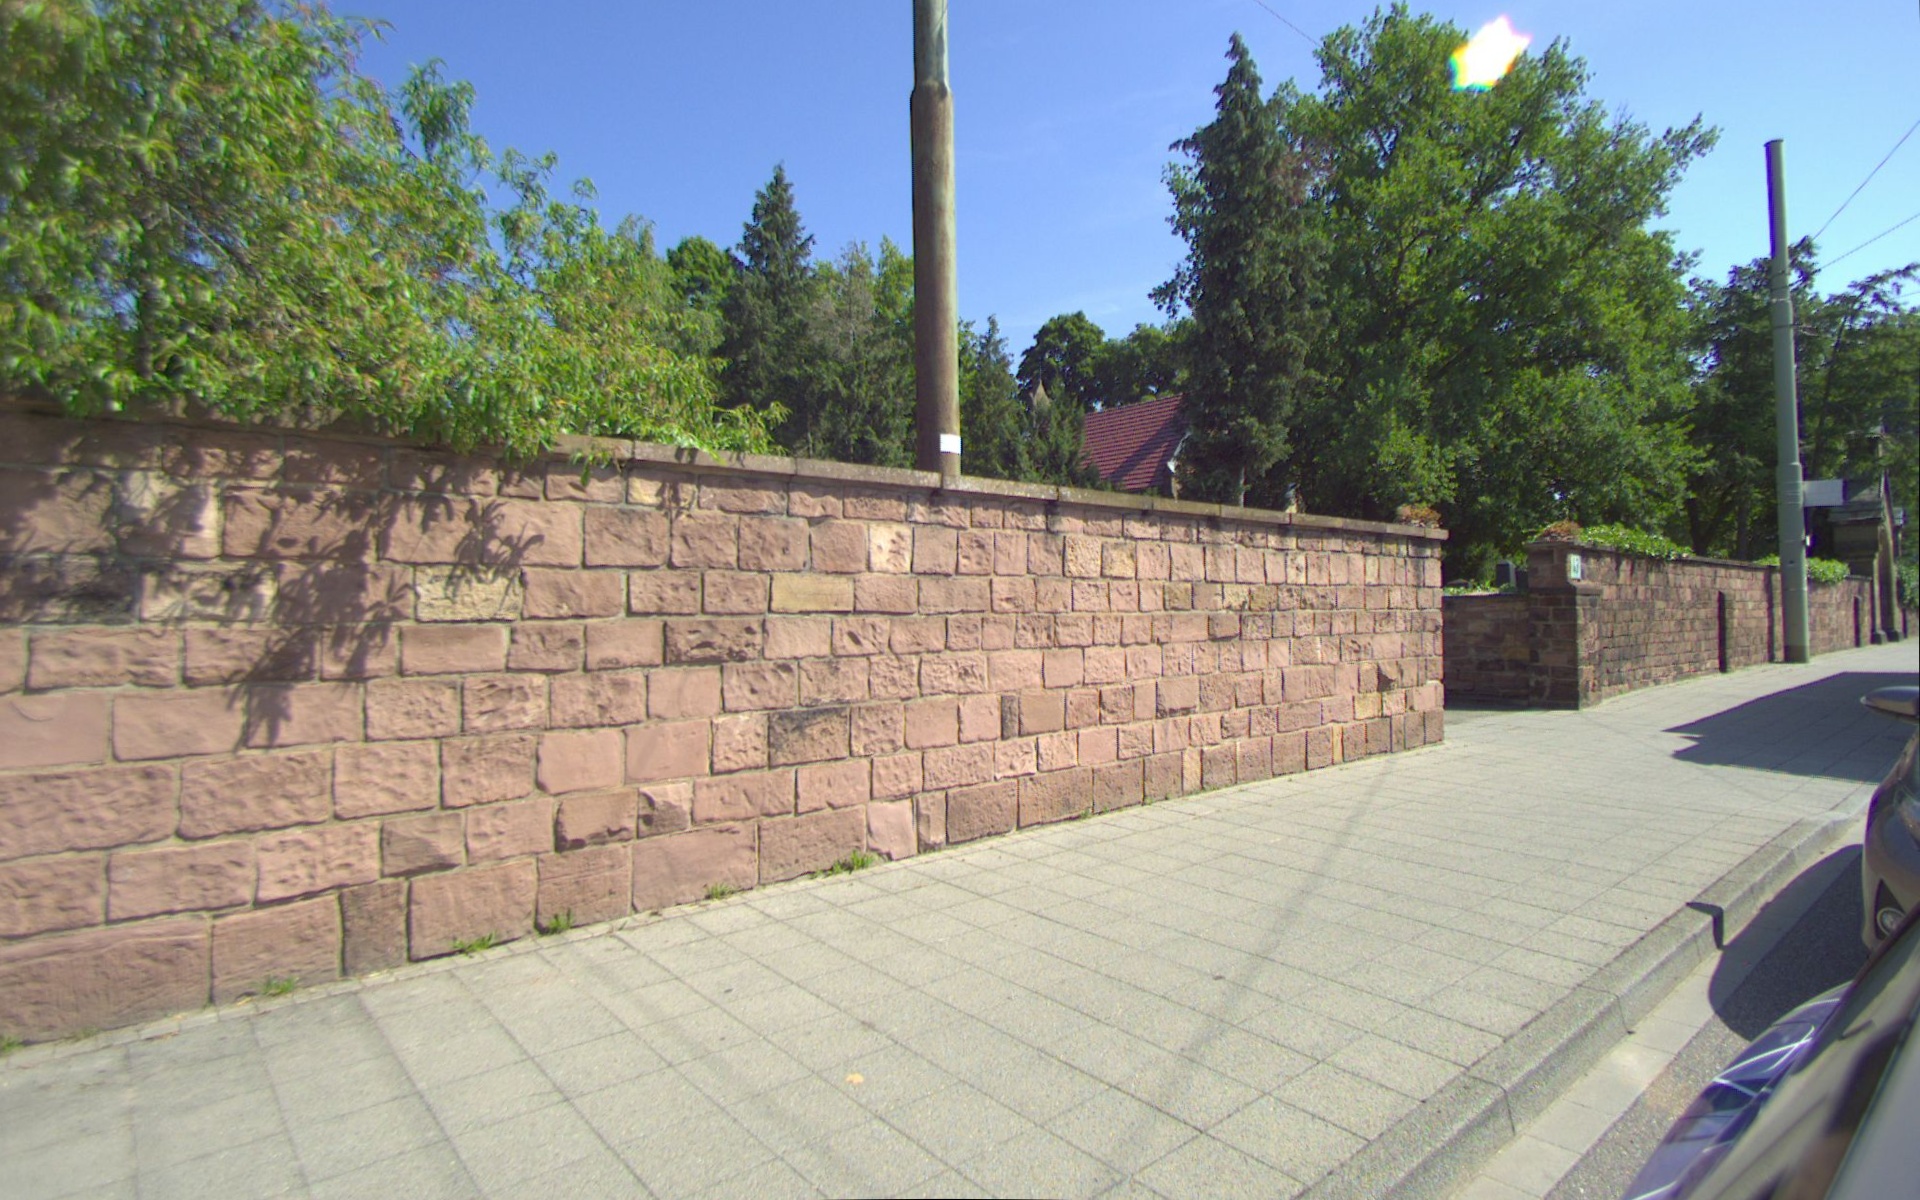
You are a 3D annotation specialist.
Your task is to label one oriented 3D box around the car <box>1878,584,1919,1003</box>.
[{"bbox_3d":[5.151,0.645,4.124,3.930,1.400,1.653,0,0,-41],"label":"car"}]
